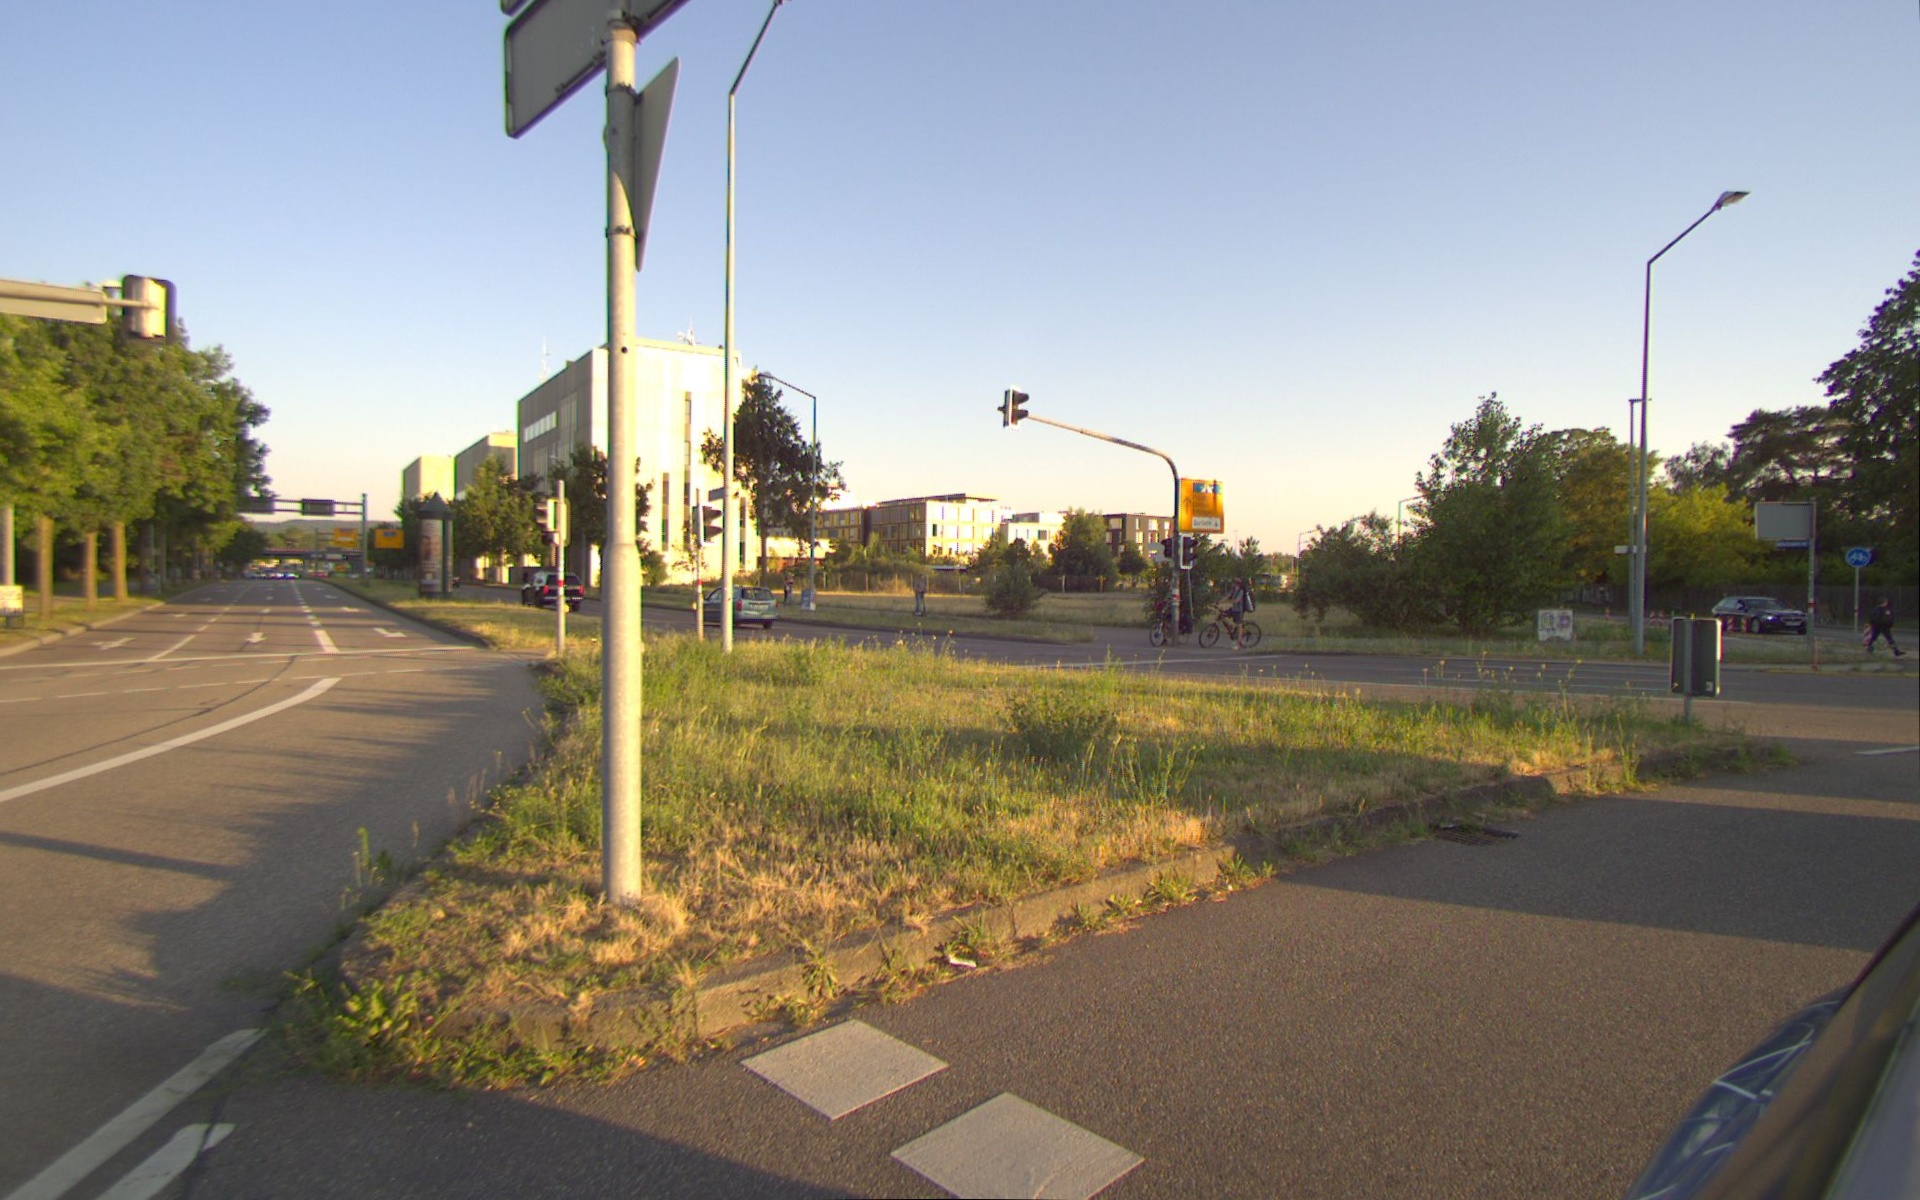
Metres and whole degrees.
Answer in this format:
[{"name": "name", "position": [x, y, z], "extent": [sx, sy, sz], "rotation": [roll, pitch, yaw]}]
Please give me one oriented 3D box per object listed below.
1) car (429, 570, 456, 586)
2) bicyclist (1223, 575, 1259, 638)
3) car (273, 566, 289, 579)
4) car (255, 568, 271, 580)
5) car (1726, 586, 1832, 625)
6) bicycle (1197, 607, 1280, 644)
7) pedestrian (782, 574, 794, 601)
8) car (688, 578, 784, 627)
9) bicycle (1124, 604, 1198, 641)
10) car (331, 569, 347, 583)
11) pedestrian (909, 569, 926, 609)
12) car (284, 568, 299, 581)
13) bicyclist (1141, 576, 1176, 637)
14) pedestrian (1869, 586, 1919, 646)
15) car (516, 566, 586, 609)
[{"name": "car", "position": [-48.213, -2.029, 94.287], "extent": [1.718, 1.396, 4.126], "rotation": [0, 1, -35]}, {"name": "bicyclist", "position": [7.766, 0.178, 27.994], "extent": [0.675, 1.711, 0.727], "rotation": [1, 1, -11]}, {"name": "car", "position": [-105.264, -4.252, 156.881], "extent": [1.962, 2.039, 4.000], "rotation": [-1, 0, -34]}, {"name": "car", "position": [-114.966, -4.268, 166.897], "extent": [1.963, 1.803, 3.998], "rotation": [-1, 0, -37]}, {"name": "car", "position": [33.943, 0.205, 42.087], "extent": [1.972, 1.504, 3.981], "rotation": [1, 1, 16]}, {"name": "bicycle", "position": [7.693, 0.701, 27.975], "extent": [2.100, 0.975, 0.711], "rotation": [0, 1, -13]}, {"name": "pedestrian", "position": [-9.805, -0.728, 57.584], "extent": [0.492, 1.531, 0.531], "rotation": [0, 1, -33]}, {"name": "car", "position": [-7.863, 0.042, 35.317], "extent": [1.728, 1.566, 3.997], "rotation": [0, 1, -38]}, {"name": "bicycle", "position": [5.806, 0.632, 29.151], "extent": [2.064, 0.975, 0.711], "rotation": [-2, 2, -25]}, {"name": "car", "position": [-90.560, -3.522, 147.548], "extent": [1.961, 2.039, 4.003], "rotation": [0, 1, -32]}, {"name": "pedestrian", "position": [-1.867, -0.489, 44.259], "extent": [0.555, 1.705, 0.520], "rotation": [0, 1, -33]}, {"name": "car", "position": [-112.270, -4.316, 169.949], "extent": [1.962, 2.039, 4.000], "rotation": [-1, 0, -35]}, {"name": "bicyclist", "position": [5.719, 0.181, 29.136], "extent": [0.675, 1.711, 0.726], "rotation": [0, 1, -27]}, {"name": "pedestrian", "position": [25.988, 0.436, 27.946], "extent": [0.977, 1.610, 0.922], "rotation": [1, 1, 15]}, {"name": "car", "position": [-19.251, -0.635, 47.506], "extent": [1.961, 1.835, 5.308], "rotation": [3, 0, -34]}]
